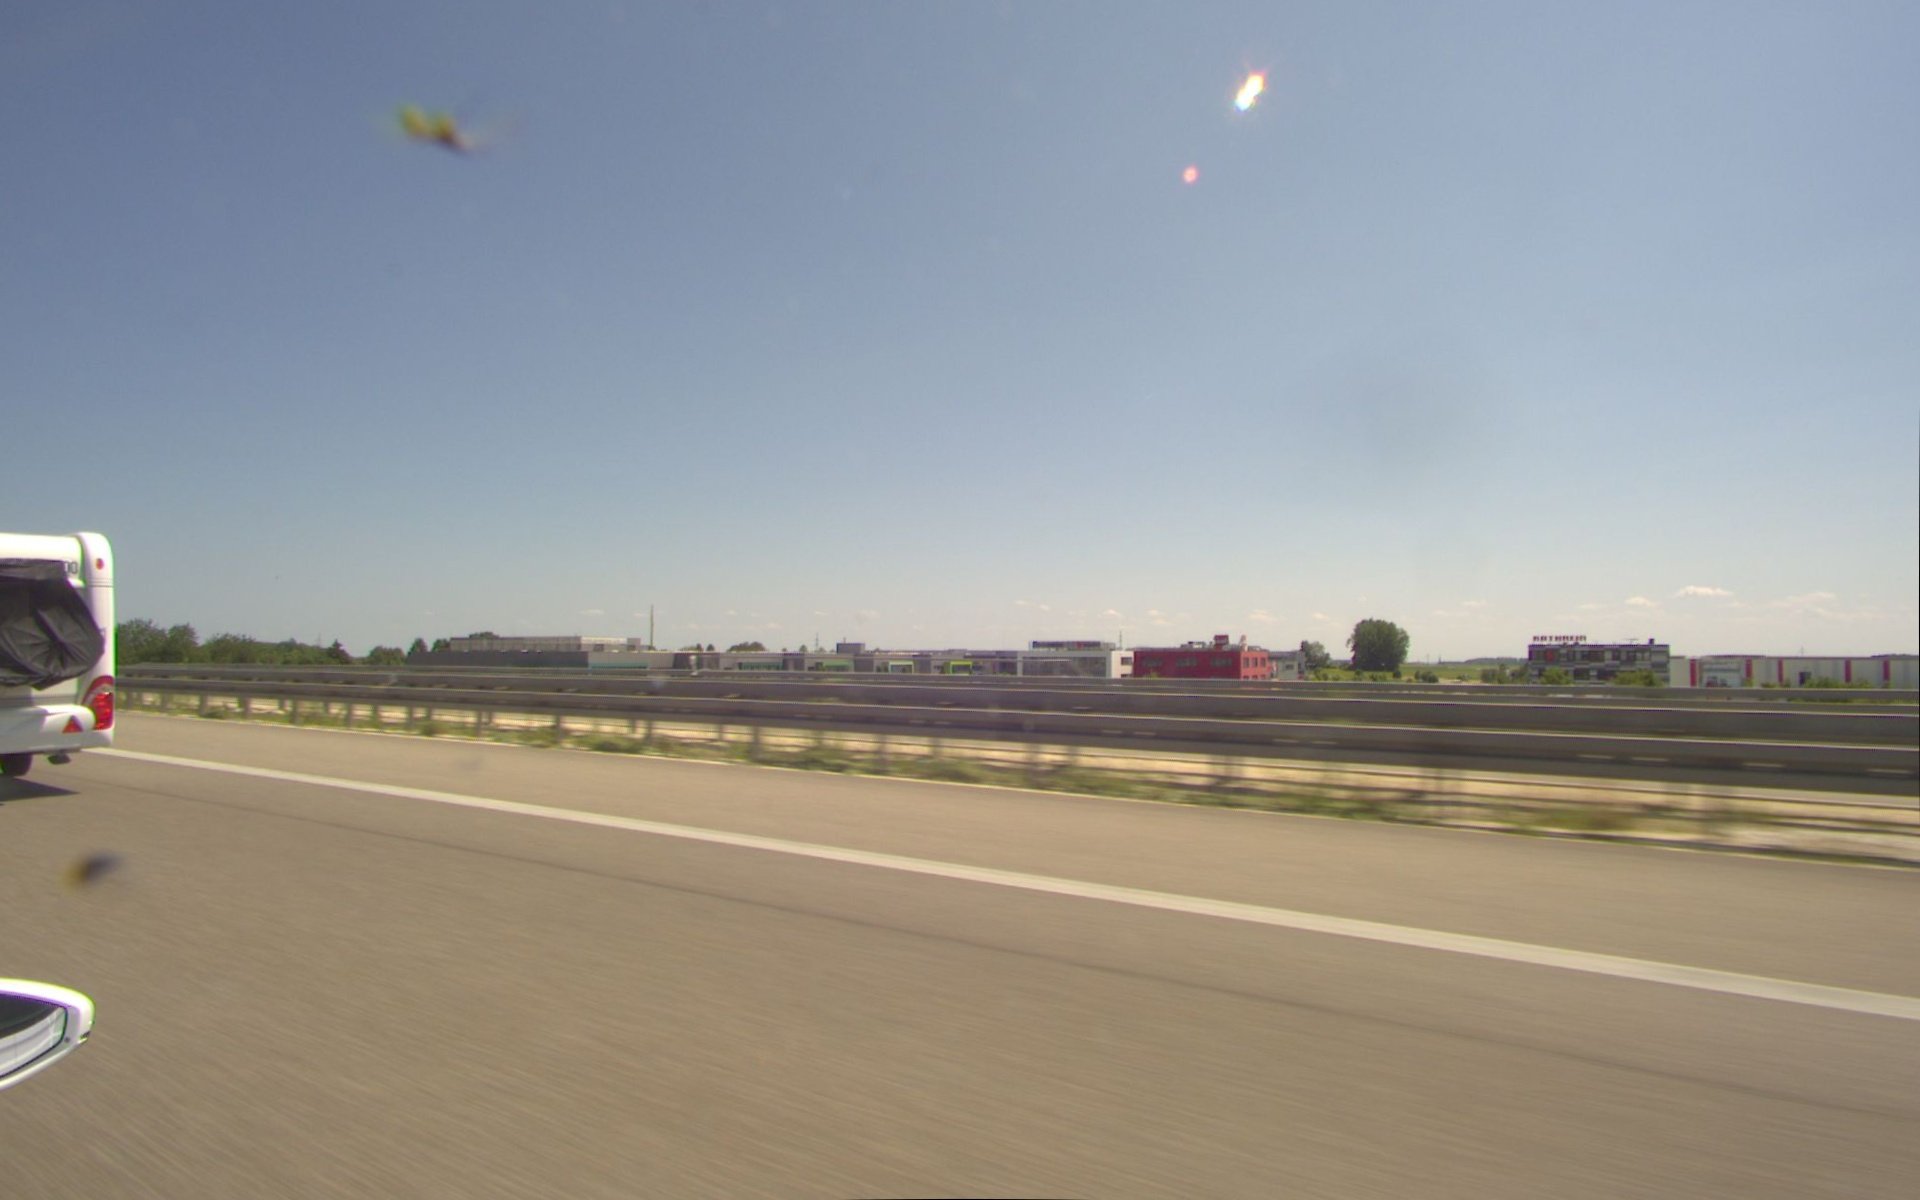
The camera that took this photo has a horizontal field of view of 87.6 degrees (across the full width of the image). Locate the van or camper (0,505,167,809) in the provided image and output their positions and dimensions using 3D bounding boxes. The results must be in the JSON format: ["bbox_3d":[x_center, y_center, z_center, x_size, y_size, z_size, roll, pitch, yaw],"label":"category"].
[{"bbox_3d":[-11.550,0.569,10.747,7.709,2.626,2.507,-1,-2,34],"label":"van or camper"}]
